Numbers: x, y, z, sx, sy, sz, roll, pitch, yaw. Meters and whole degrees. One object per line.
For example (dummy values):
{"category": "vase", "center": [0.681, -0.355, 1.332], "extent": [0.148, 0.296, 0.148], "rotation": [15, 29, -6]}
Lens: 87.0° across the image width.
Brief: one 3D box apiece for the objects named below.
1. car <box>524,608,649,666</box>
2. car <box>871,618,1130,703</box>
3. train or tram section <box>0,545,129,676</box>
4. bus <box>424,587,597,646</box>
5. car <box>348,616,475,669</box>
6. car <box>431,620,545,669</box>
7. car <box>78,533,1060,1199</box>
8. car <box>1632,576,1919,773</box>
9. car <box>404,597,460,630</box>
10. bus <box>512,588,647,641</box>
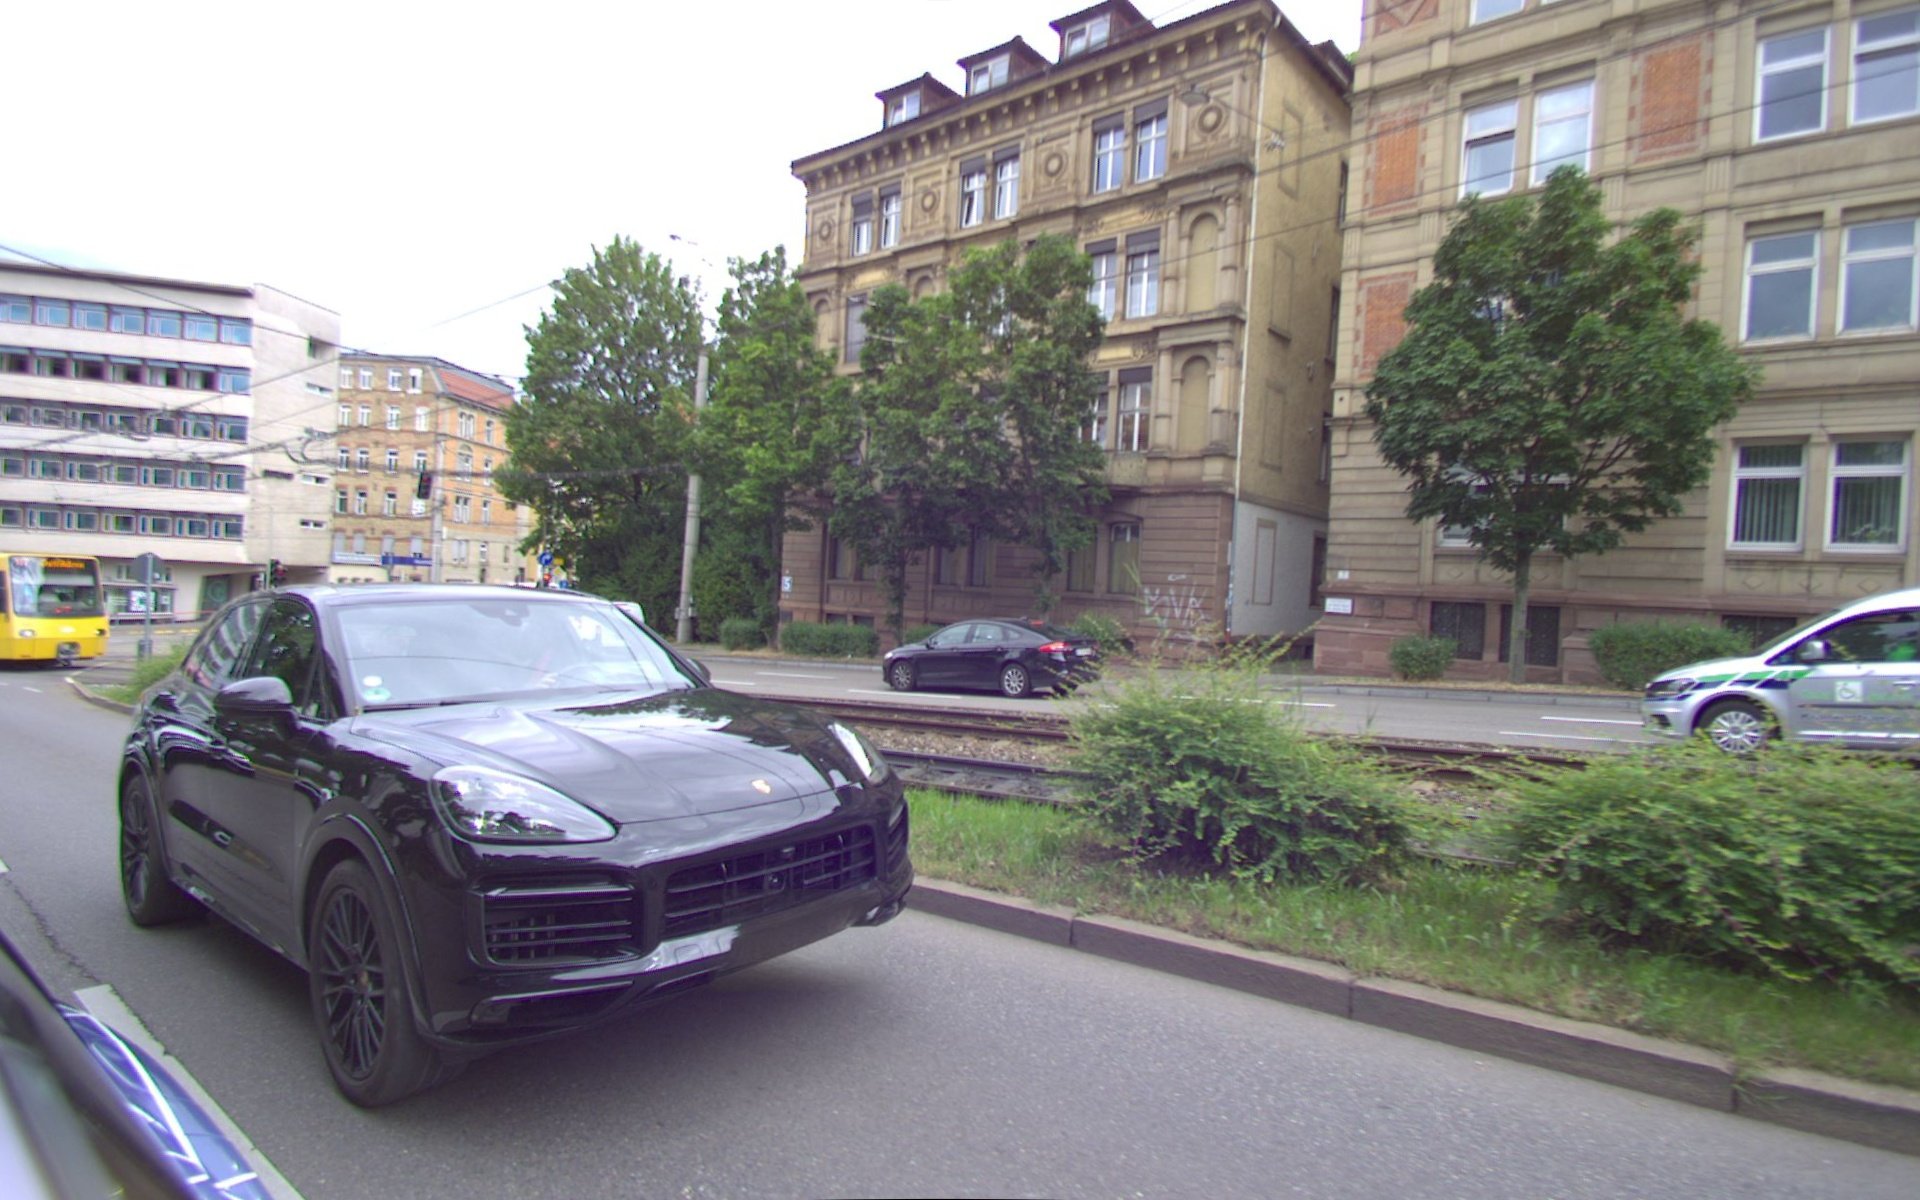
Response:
{"category": "car", "center": [-12.990, 1.254, 35.037], "extent": [4.992, 1.864, 1.972], "rotation": [-2, -2, 42]}
{"category": "car", "center": [0.689, 1.133, 19.764], "extent": [4.939, 1.461, 1.802], "rotation": [-2, -2, 38]}
{"category": "train or tram section", "center": [-32.824, 0.287, 32.350], "extent": [14.369, 3.691, 2.871], "rotation": [0, 1, 21]}
{"category": "bus", "center": [-25.414, 0.852, 58.244], "extent": [3.352, 3.052, 11.514], "rotation": [-1, 0, 9]}
{"category": "car", "center": [-17.230, 1.299, 31.731], "extent": [4.401, 1.530, 1.974], "rotation": [-2, -1, 39]}
{"category": "car", "center": [-15.568, 1.404, 33.284], "extent": [4.402, 1.438, 1.725], "rotation": [0, 0, 40]}
{"category": "car", "center": [-2.104, 0.692, 4.527], "extent": [4.777, 1.697, 2.007], "rotation": [1, 0, 39]}
{"category": "car", "center": [9.438, 0.722, 9.983], "extent": [4.512, 1.801, 1.860], "rotation": [-1, -3, 40]}
{"category": "car", "center": [-40.167, 1.003, 77.046], "extent": [1.973, 2.027, 4.002], "rotation": [-10, 2, -2]}
{"category": "bus", "center": [-24.308, 0.871, 65.622], "extent": [3.285, 3.066, 11.336], "rotation": [-1, 0, 7]}
